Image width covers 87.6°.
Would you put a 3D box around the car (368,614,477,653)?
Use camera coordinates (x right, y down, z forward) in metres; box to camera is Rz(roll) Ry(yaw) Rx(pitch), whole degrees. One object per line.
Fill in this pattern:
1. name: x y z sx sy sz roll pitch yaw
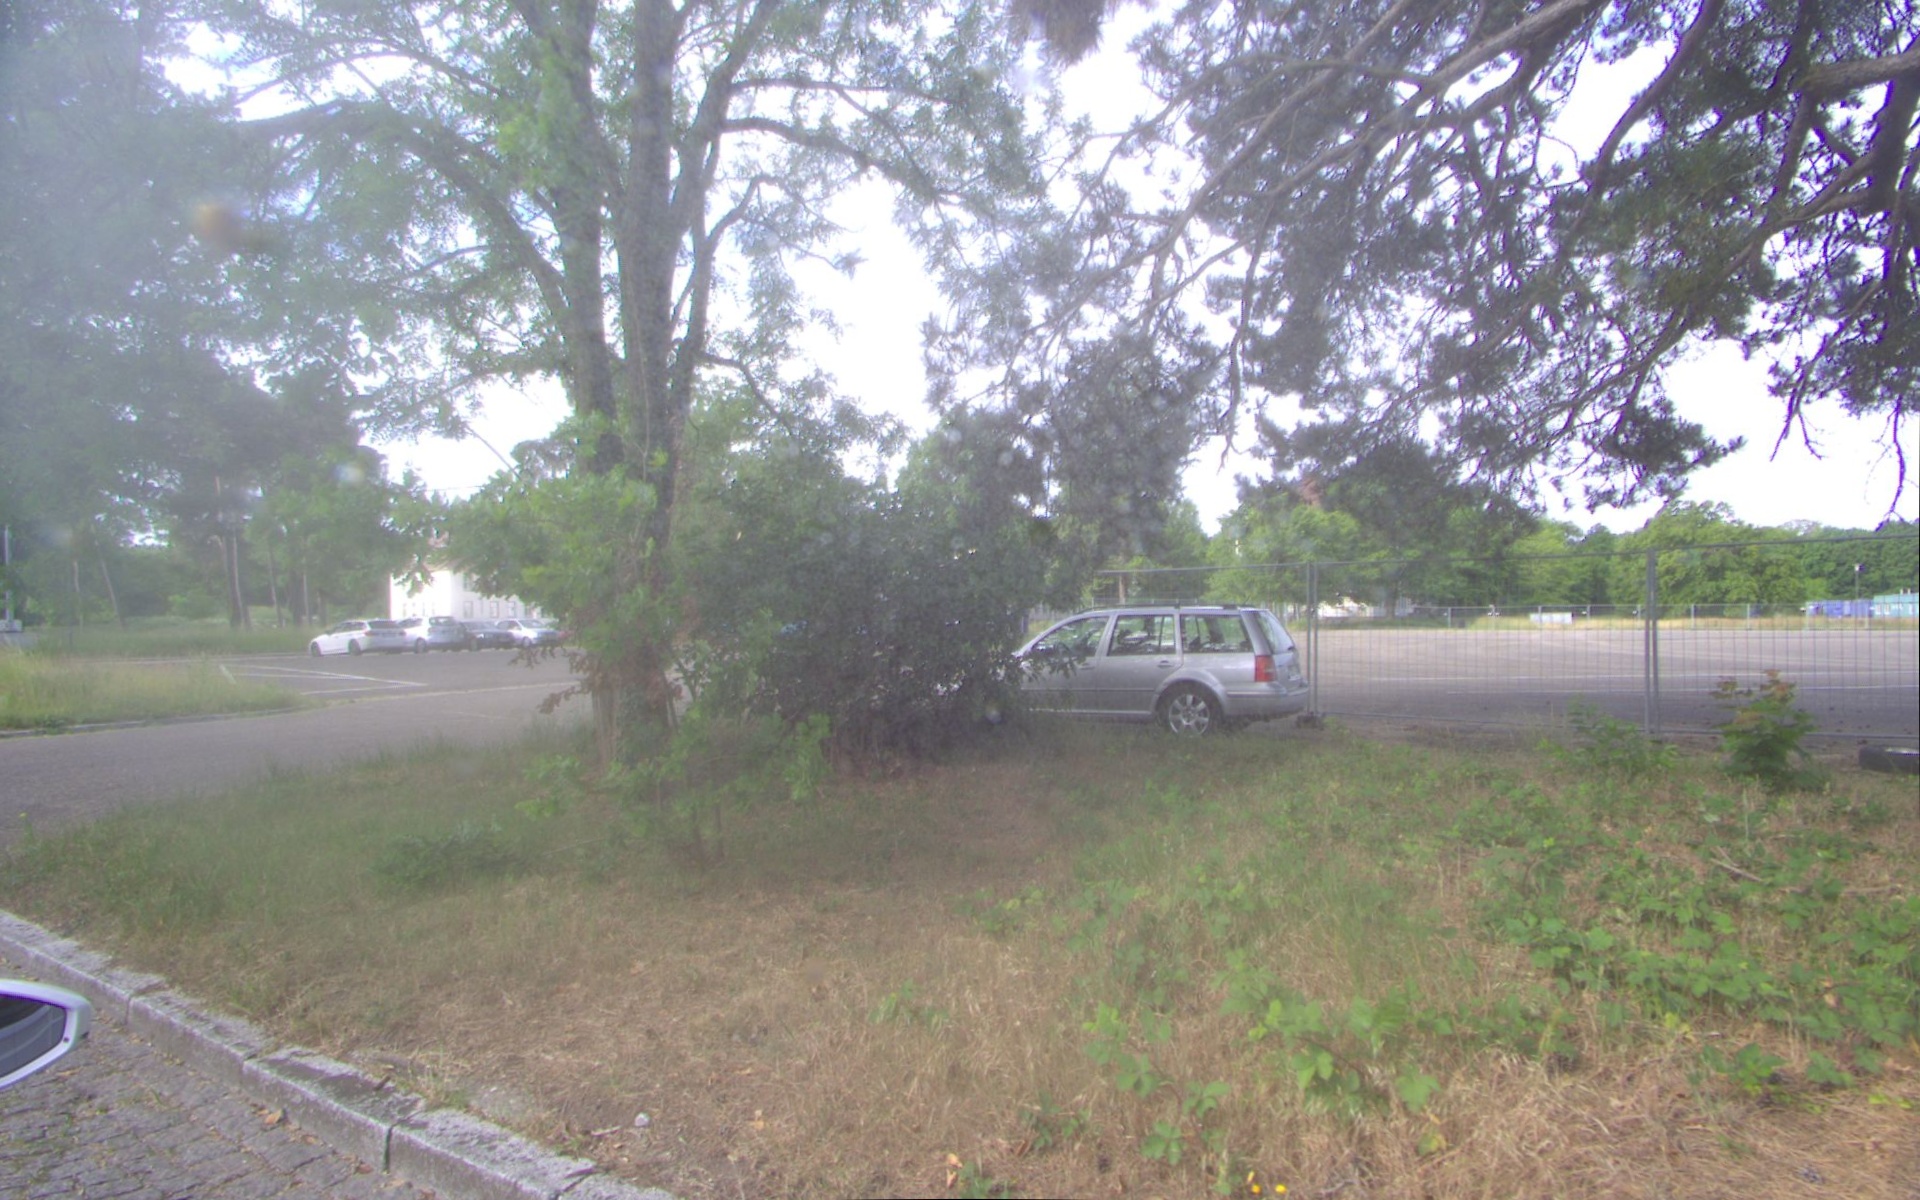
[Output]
1. car: -22.737 1.410 42.328 4.359 1.500 1.991 -2 -1 29

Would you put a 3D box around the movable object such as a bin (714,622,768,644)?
1. movable object such as a bin: -8.975 1.343 41.040 1.928 0.836 1.181 -1 -1 37

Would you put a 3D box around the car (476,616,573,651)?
1. car: -20.553 1.590 47.258 4.359 1.542 1.992 -2 -3 29

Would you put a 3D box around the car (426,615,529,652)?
1. car: -21.569 1.509 44.744 4.359 1.500 1.991 -2 -1 29

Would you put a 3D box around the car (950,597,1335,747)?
1. car: 2.020 0.766 11.411 4.014 1.444 1.645 -1 -3 31

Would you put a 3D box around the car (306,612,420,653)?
1. car: -23.919 1.320 40.101 4.359 1.500 1.991 -2 -1 29
